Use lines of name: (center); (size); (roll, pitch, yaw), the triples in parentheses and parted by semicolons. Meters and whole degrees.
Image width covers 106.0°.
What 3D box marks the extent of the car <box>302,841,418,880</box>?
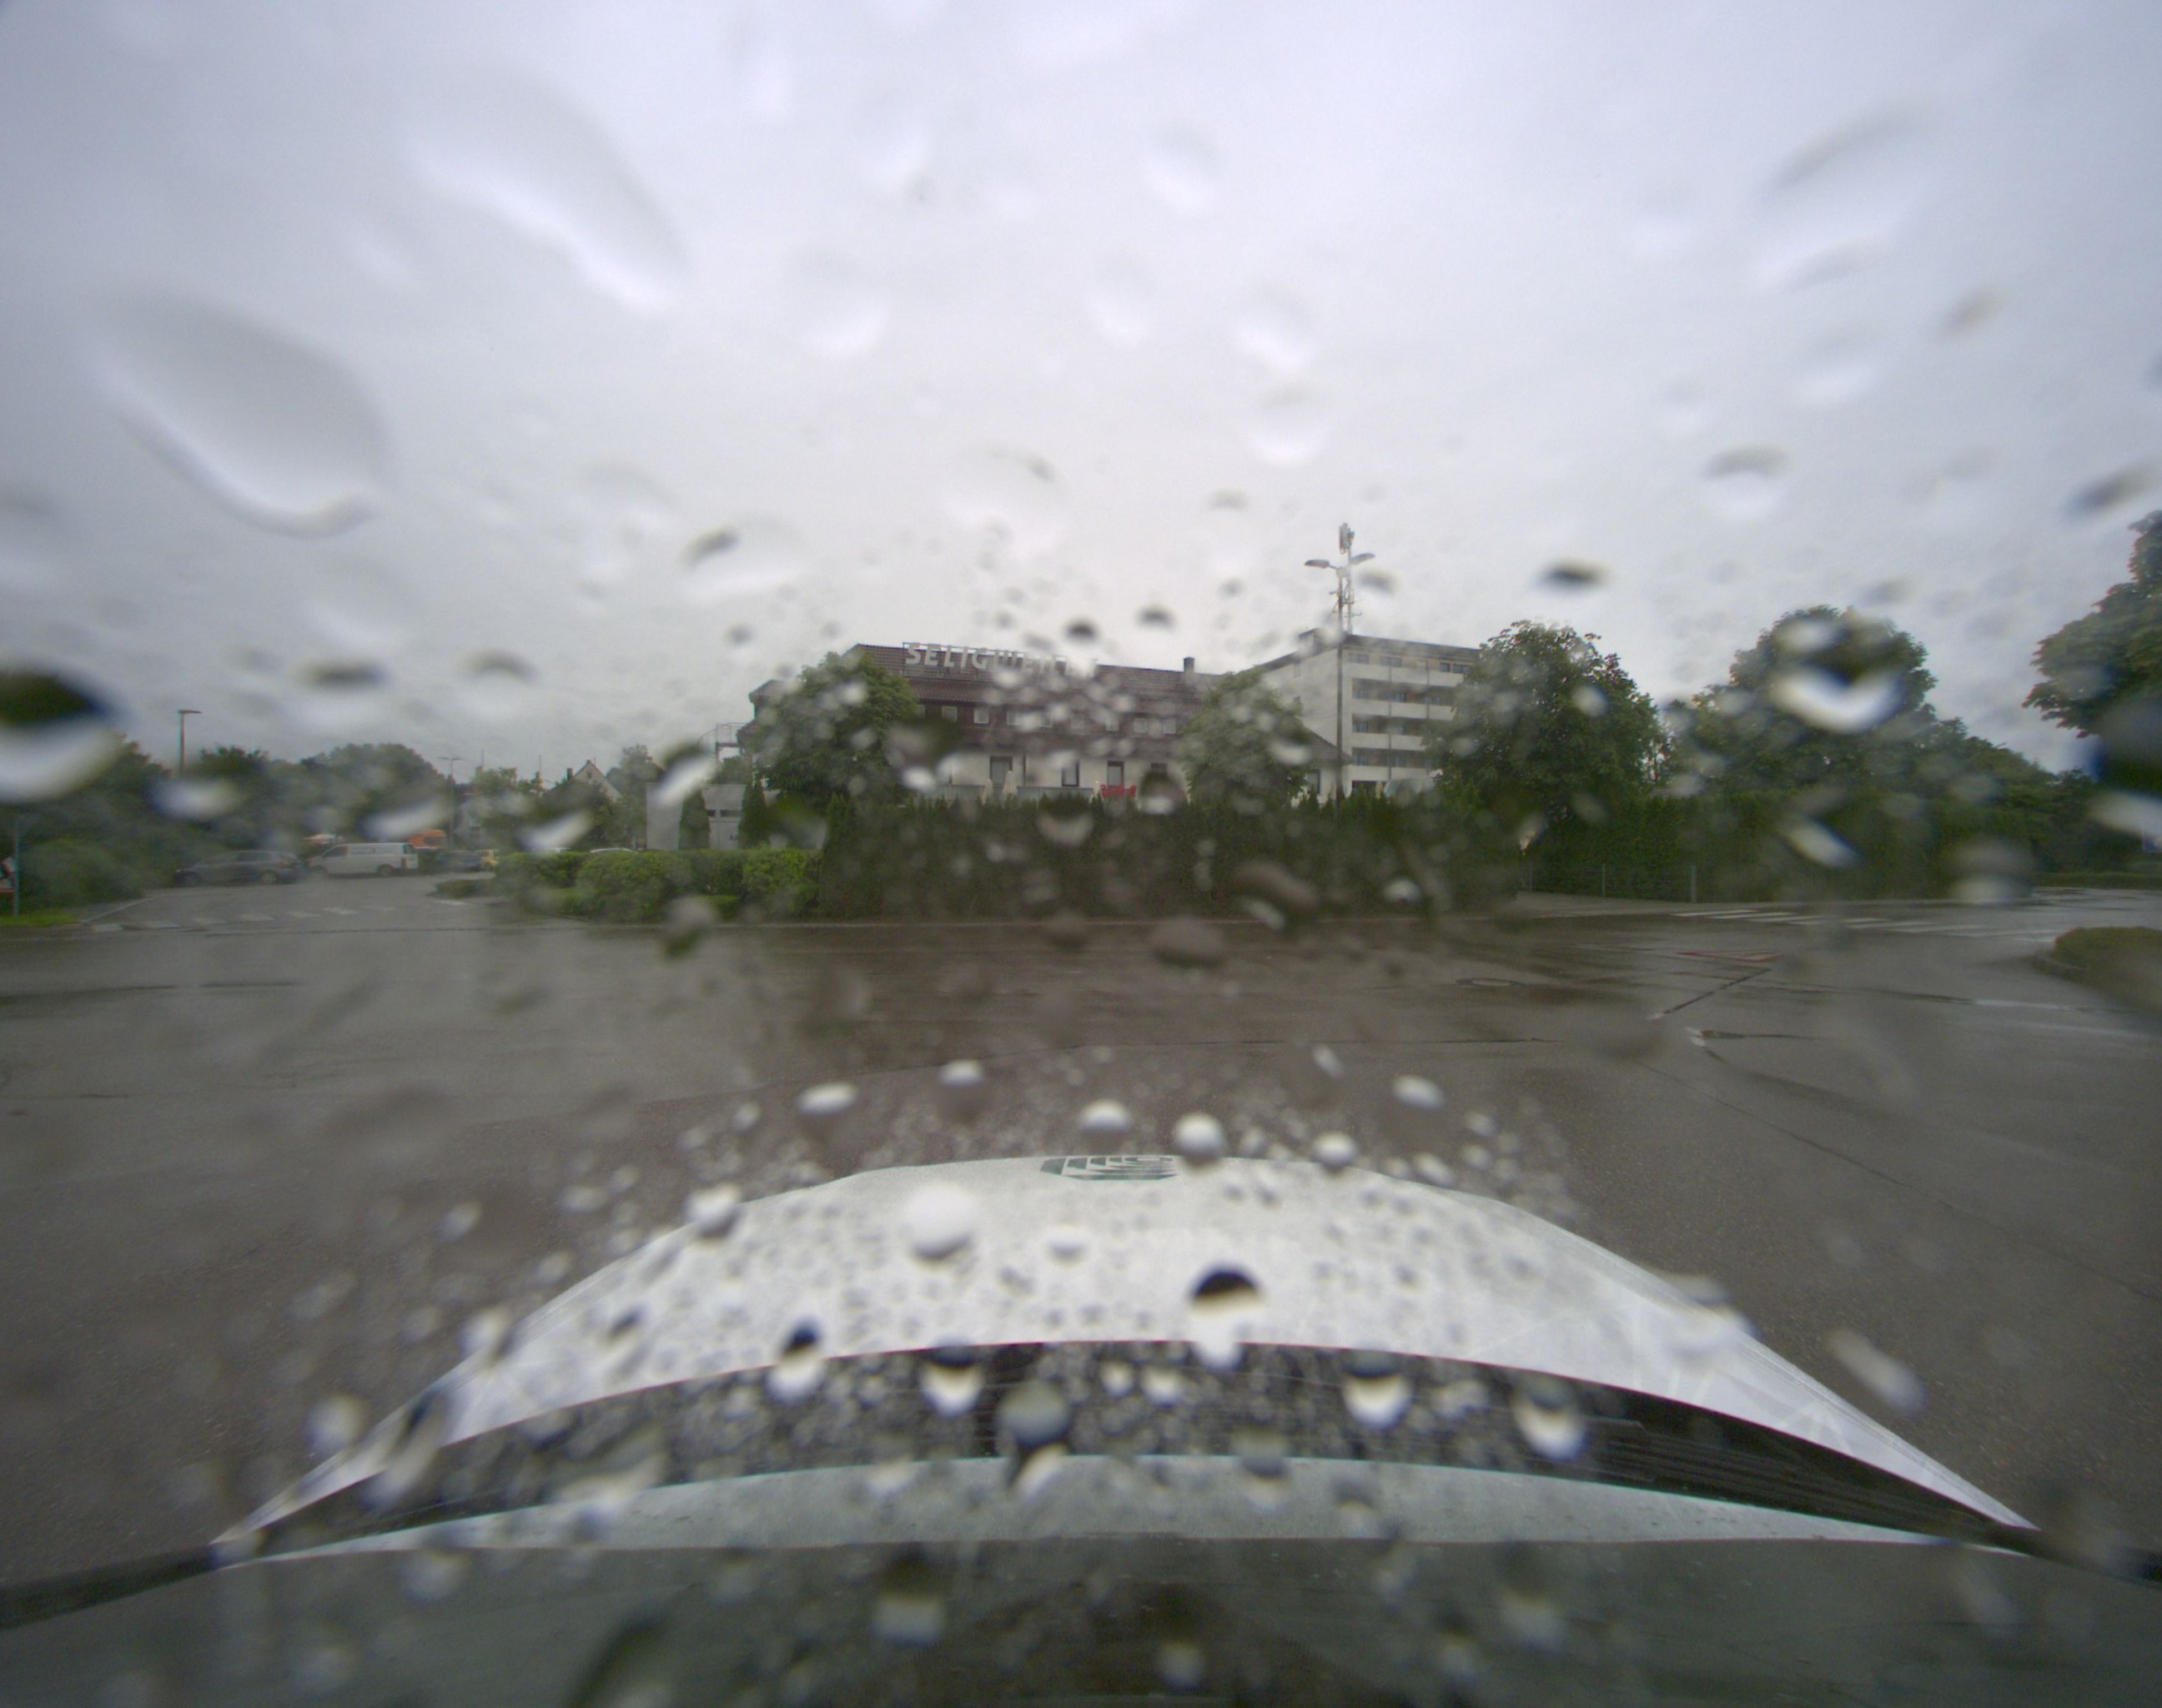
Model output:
car: (-40.658, 0.313, 46.029); (4.537, 2.033, 1.634); (-1, 1, -21)

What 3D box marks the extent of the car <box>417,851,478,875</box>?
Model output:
car: (-41.678, 0.583, 53.560); (3.635, 1.458, 1.565); (-1, 2, 23)

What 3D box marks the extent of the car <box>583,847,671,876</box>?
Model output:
car: (-26.239, 0.393, 47.234); (4.191, 1.497, 1.706); (-2, 1, -21)

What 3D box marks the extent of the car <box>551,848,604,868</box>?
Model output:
car: (-38.392, 0.288, 62.054); (3.635, 1.458, 1.595); (-1, 2, 23)

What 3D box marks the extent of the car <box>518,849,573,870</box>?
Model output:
car: (-39.299, 0.370, 59.815); (3.635, 1.458, 1.595); (-1, 2, 23)

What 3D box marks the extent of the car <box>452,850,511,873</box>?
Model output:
car: (-41.426, 0.520, 56.293); (3.635, 1.458, 1.595); (-1, 2, 23)

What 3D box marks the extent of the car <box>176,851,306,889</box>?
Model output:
car: (-37.560, 0.674, 36.514); (3.746, 1.550, 1.441); (-1, 1, -21)
